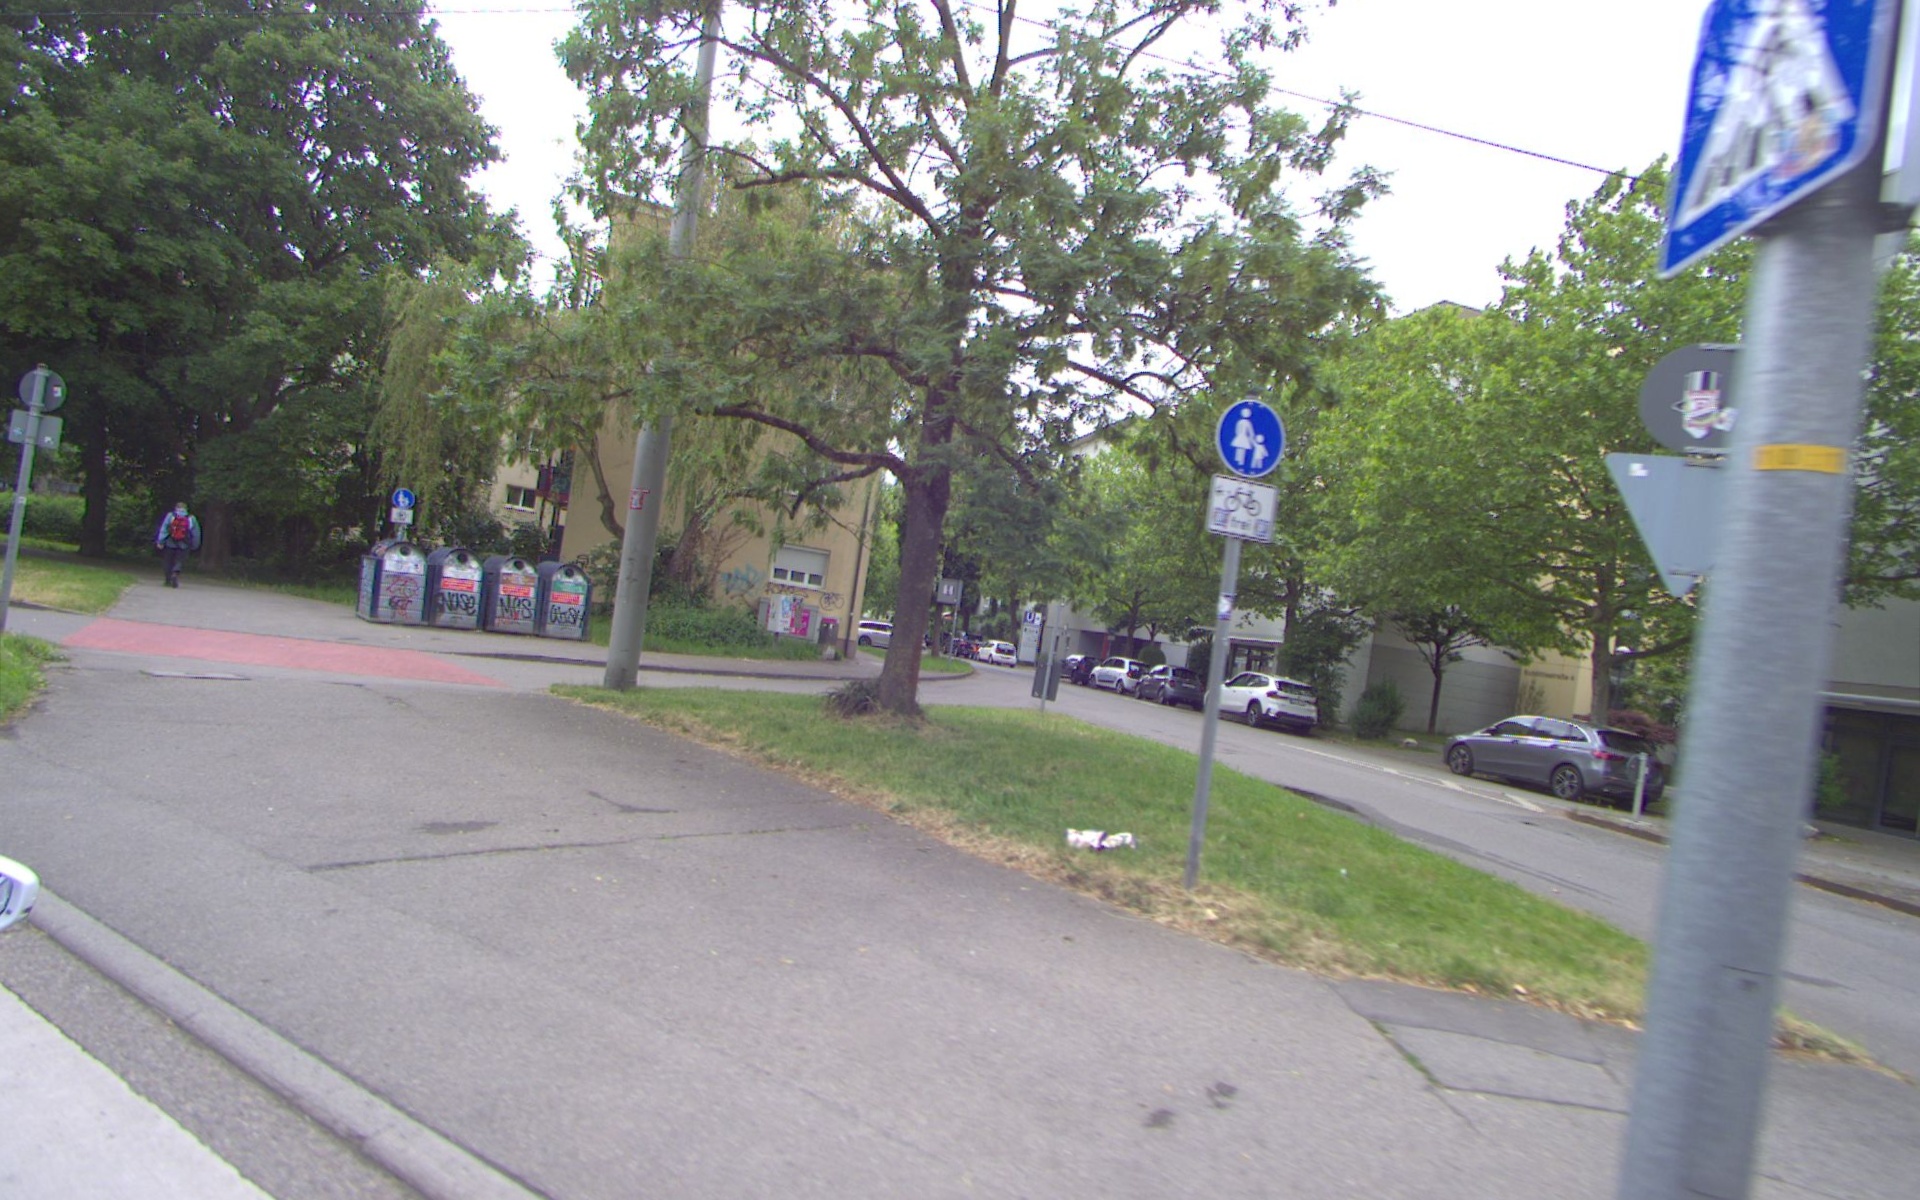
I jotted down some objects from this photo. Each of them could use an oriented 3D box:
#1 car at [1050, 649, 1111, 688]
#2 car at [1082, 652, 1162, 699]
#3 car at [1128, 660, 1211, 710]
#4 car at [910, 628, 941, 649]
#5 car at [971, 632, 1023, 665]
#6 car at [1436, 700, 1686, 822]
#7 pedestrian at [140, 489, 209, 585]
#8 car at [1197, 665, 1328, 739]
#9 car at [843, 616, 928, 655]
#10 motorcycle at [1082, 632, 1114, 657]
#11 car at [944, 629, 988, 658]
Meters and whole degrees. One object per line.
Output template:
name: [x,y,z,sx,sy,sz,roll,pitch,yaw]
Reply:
car: [5.700,3.221,47.937,1.553,1.369,3.436,12,-3,-14]
car: [6.874,3.208,43.015,1.629,1.441,3.427,12,-3,-22]
car: [7.950,3.218,38.463,1.623,1.389,3.438,12,-3,-12]
car: [-3.074,3.400,89.157,1.841,1.396,3.993,12,-3,-12]
car: [2.280,2.980,62.582,1.766,1.502,3.619,12,-3,-20]
car: [12.004,3.168,20.432,1.854,1.585,4.008,12,-3,-15]
pedestrian: [-16.961,-1.357,21.715,1.005,1.897,0.921,12,6,43]
car: [9.176,3.065,30.920,1.758,1.615,4.239,11,-3,-14]
car: [-4.007,1.908,53.935,4.144,1.595,1.812,7,-1,-16]
motorcycle: [9.824,3.165,71.826,1.934,1.384,0.749,12,-2,-10]
car: [0.352,2.936,68.591,1.763,1.463,4.077,12,-3,-15]
